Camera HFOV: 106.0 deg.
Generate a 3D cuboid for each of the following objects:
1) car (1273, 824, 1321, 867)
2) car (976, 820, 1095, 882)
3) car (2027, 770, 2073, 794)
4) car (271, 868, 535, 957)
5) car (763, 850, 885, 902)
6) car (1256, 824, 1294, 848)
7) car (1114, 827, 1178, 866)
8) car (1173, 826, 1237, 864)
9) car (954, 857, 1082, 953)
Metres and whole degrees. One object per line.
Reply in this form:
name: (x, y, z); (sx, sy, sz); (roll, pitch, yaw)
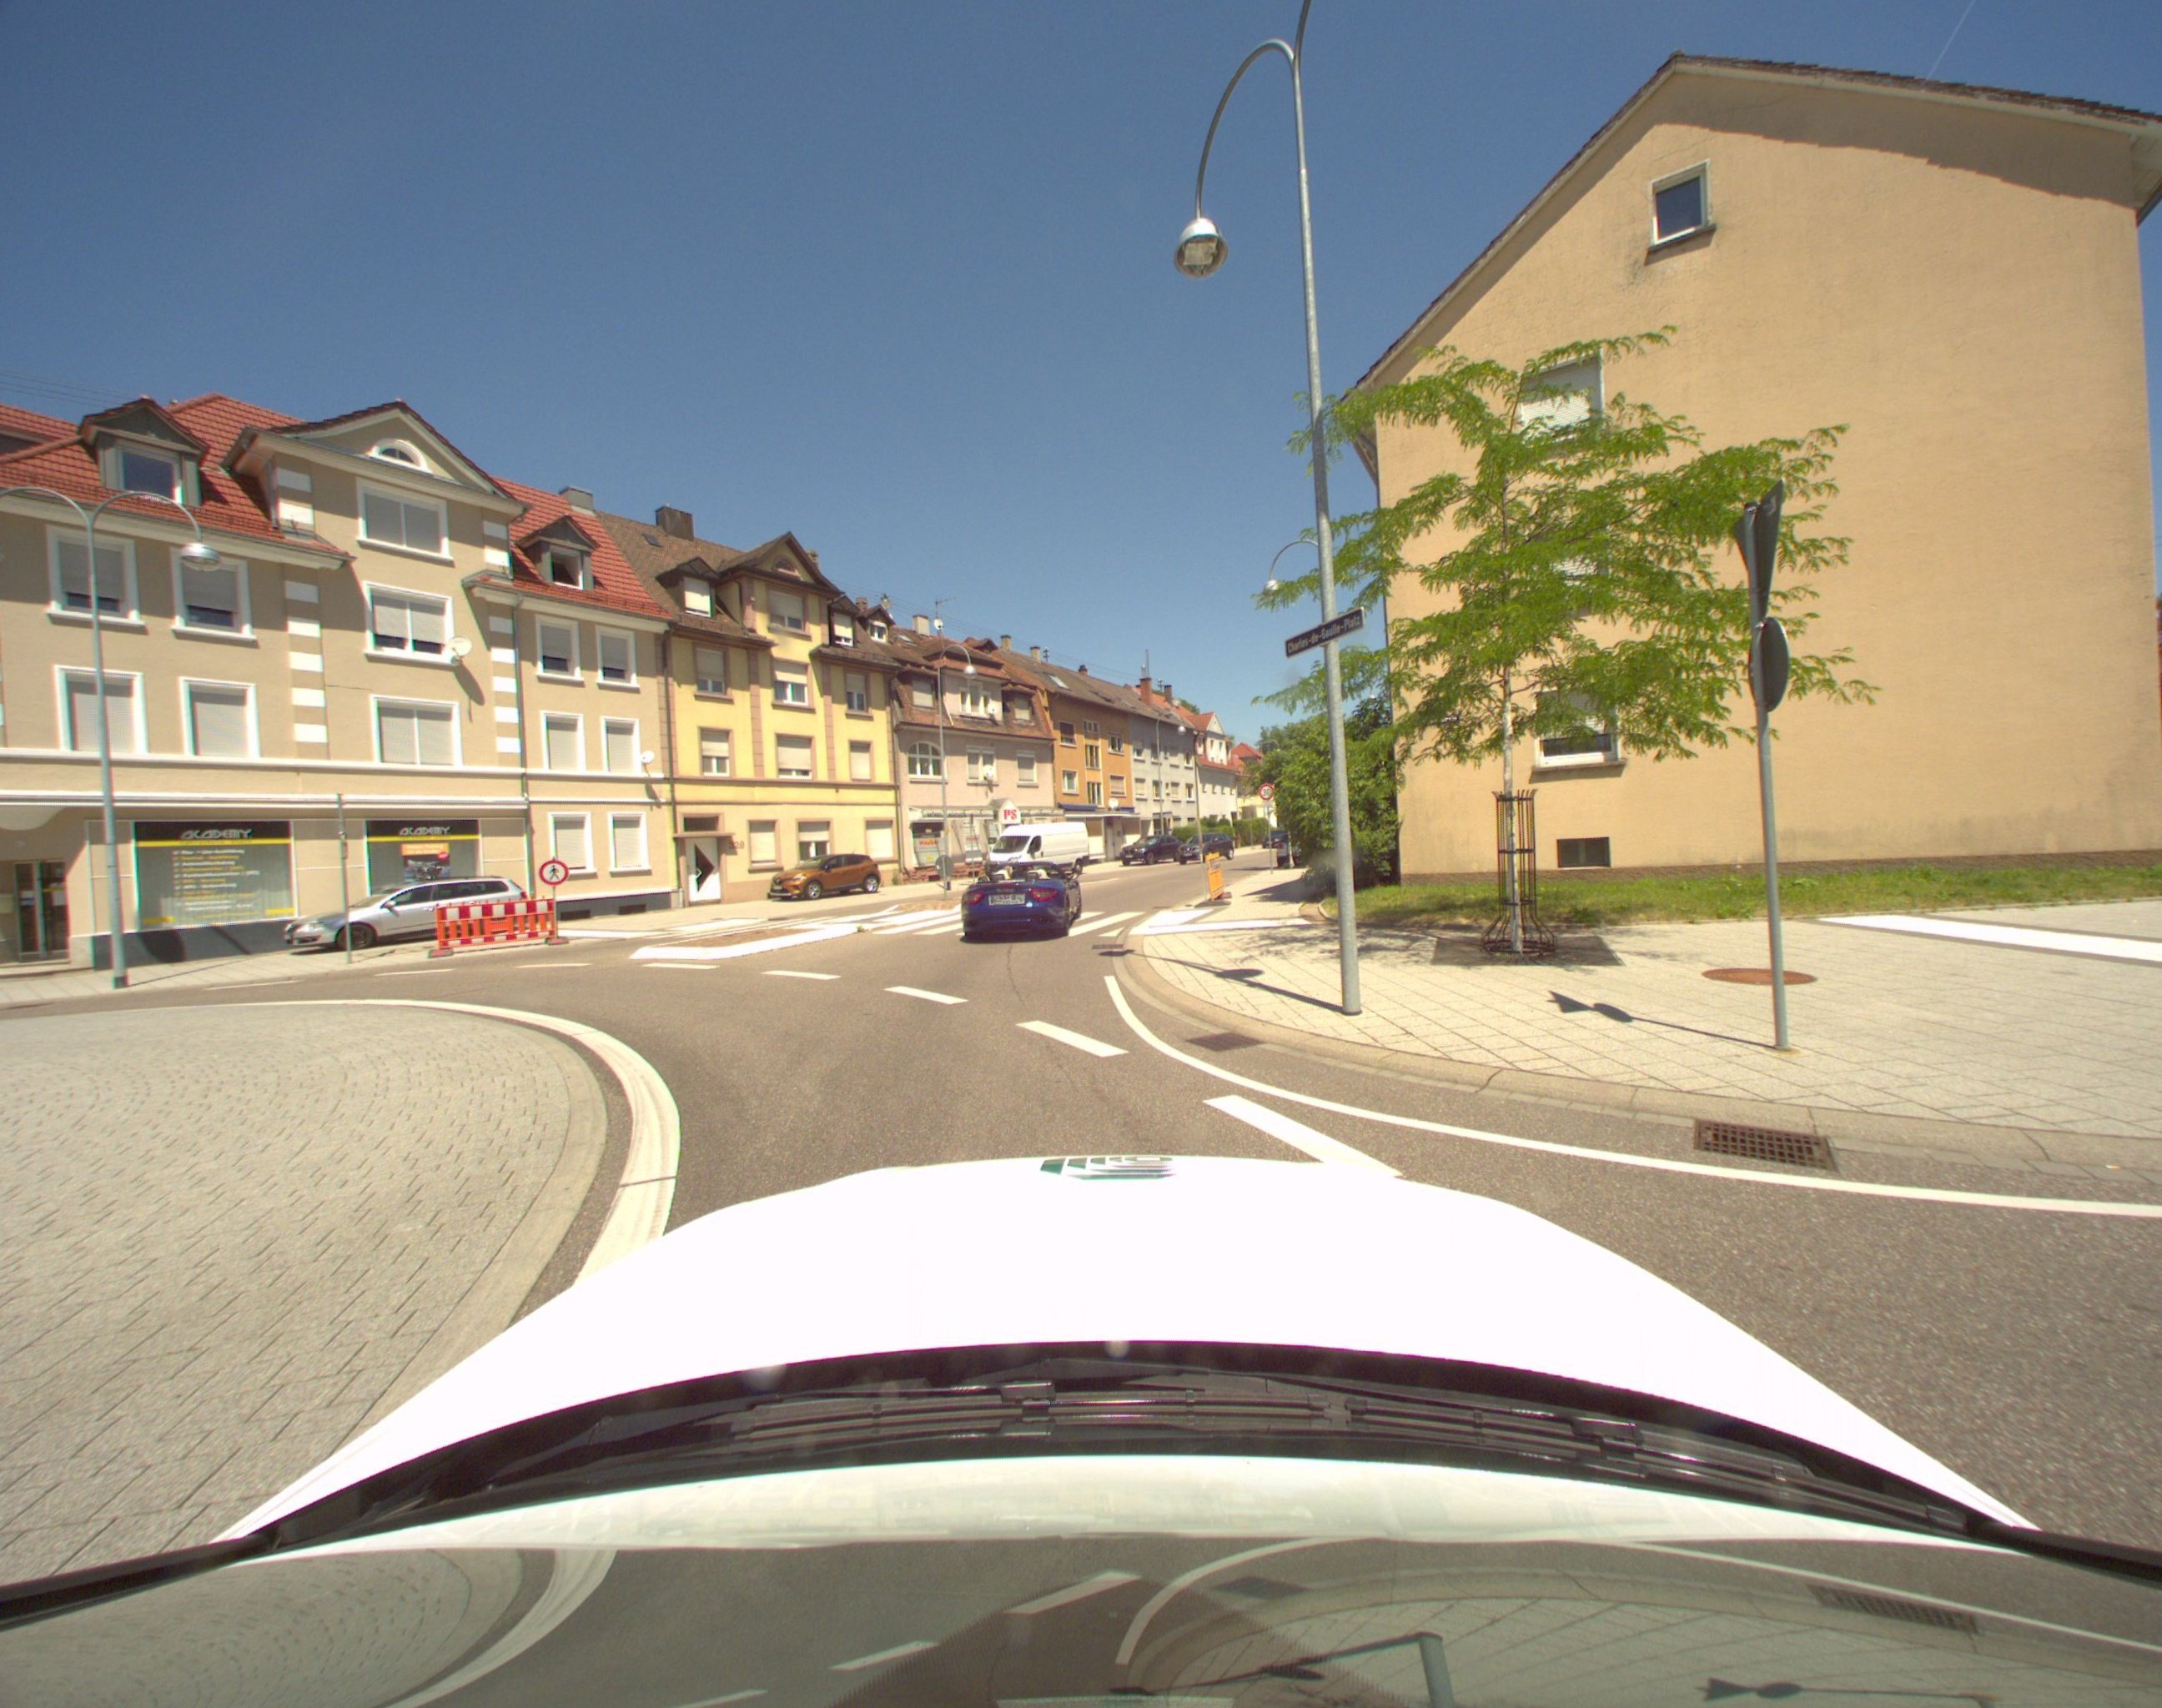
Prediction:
car: (9.543, -0.416, 35.851); (1.864, 1.631, 3.608); (-2, 2, 17)
car: (-1.945, -0.232, 37.433); (2.124, 2.532, 6.278); (-1, 2, 32)
car: (69.021, -5.118, 58.065); (3.733, 1.436, 1.722); (-4, -1, -45)
car: (-16.761, 1.356, 20.417); (1.758, 1.685, 4.725); (-3, 1, 34)
car: (-9.377, 0.759, 29.986); (1.583, 1.616, 4.118); (0, 2, 34)
car: (15.246, -1.452, 63.846); (1.823, 1.706, 3.827); (-3, 0, 30)
car: (3.745, -0.448, 46.457); (2.048, 2.013, 4.025); (-3, 0, 29)
car: (6.811, -0.530, 44.470); (1.974, 1.814, 4.239); (-5, -1, 29)
car: (-1.062, 0.890, 15.999); (1.863, 1.530, 4.510); (-3, -1, 3)
